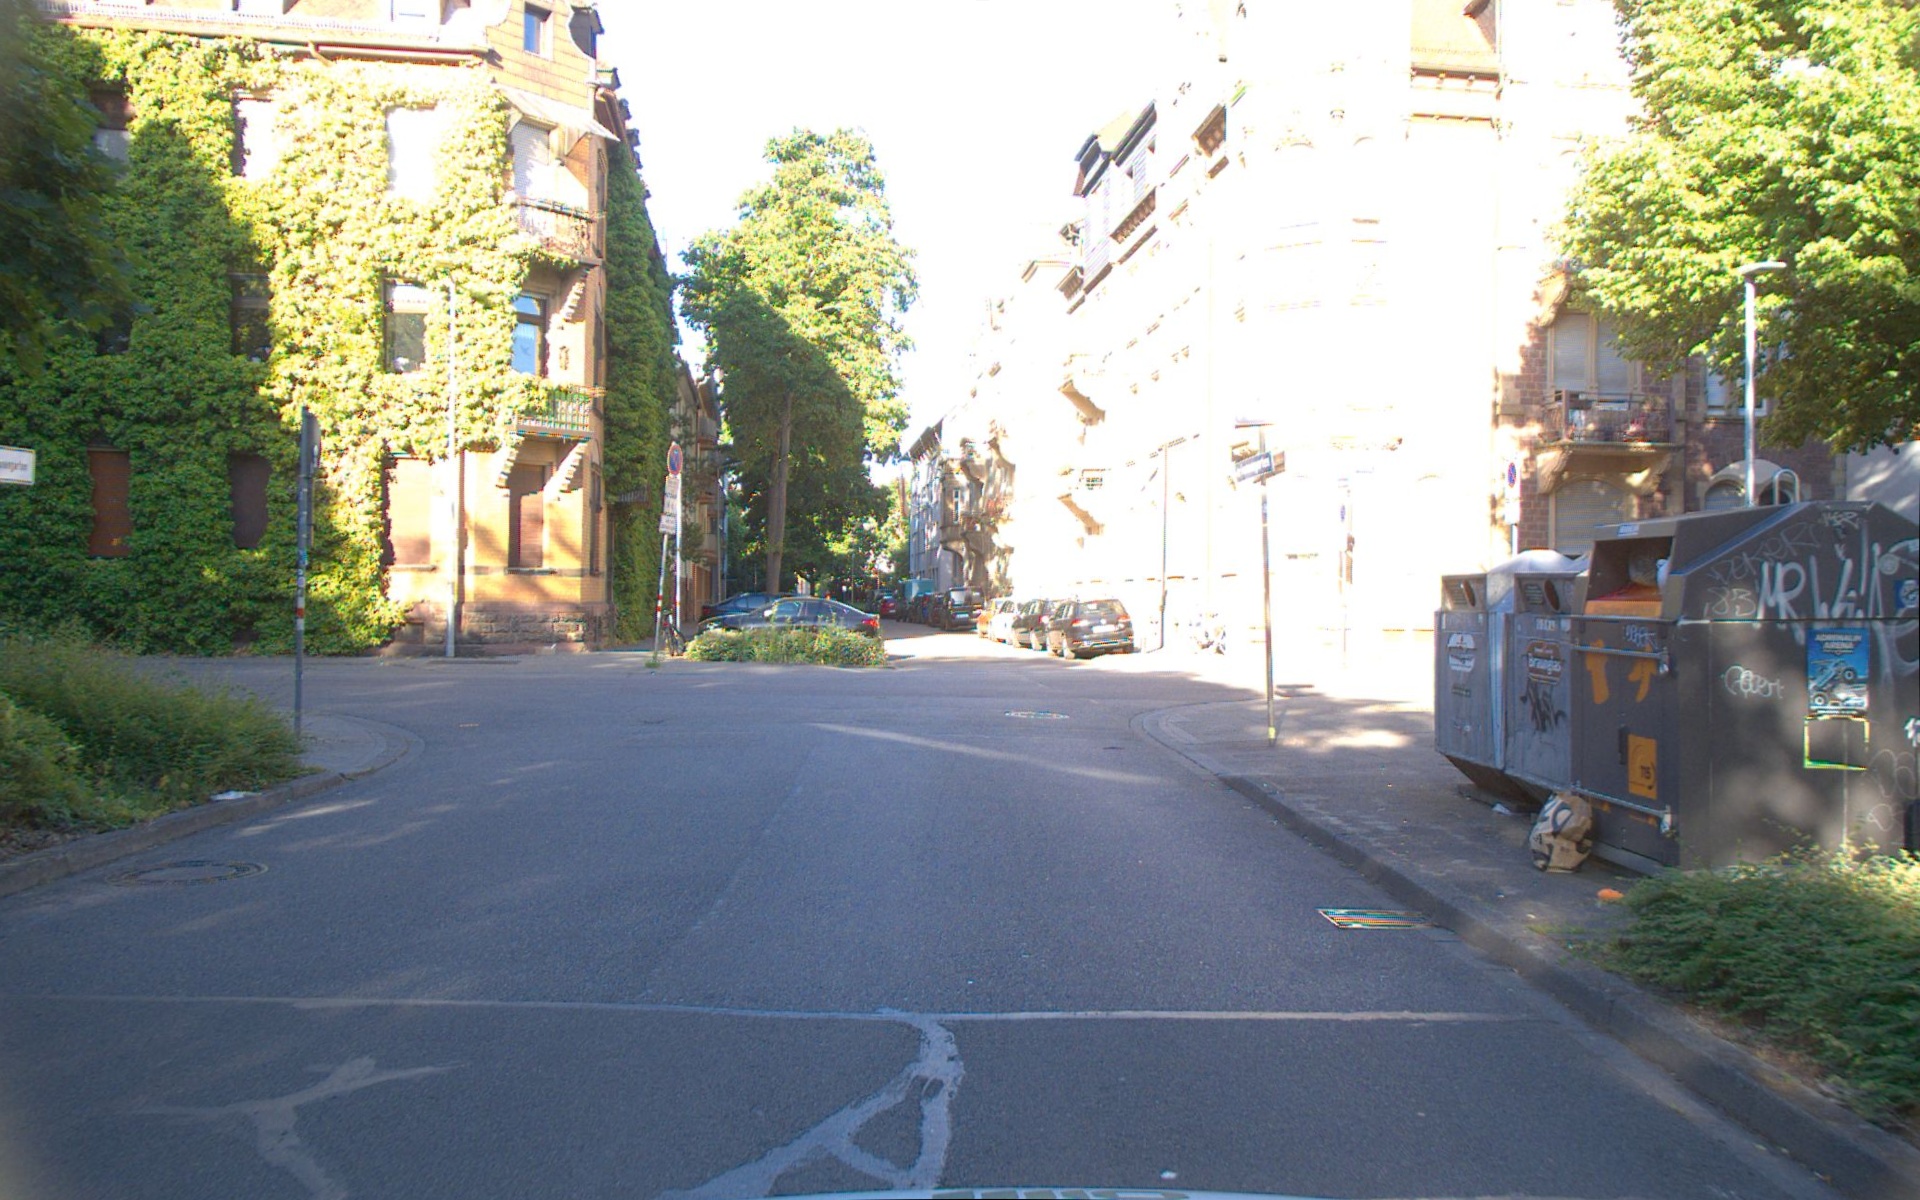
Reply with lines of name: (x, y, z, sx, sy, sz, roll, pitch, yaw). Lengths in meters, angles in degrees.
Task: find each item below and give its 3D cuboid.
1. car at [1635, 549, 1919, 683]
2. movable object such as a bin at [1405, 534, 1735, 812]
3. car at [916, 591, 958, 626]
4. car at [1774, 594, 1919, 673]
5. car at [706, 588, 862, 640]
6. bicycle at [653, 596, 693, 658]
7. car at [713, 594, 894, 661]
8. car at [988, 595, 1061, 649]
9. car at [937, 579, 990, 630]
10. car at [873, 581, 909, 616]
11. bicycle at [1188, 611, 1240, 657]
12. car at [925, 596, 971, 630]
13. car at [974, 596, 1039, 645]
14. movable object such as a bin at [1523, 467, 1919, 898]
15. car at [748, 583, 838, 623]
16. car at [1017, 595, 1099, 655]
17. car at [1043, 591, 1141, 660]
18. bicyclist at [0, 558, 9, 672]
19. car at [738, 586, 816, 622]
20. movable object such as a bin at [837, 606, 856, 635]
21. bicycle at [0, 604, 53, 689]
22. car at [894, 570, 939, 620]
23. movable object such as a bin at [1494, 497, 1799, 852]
car: (11.004, 0.262, 21.960, 1.957, 1.583, 3.989, 2, -2, -10)
movable object such as a bin: (4.012, 0.459, 11.093, 1.554, 1.686, 1.639, 2, 0, -2)
car: (-1.220, 0.446, 85.247, 1.768, 1.708, 3.994, 2, 0, -6)
car: (19.227, 0.677, 33.971, 4.361, 1.525, 1.731, 0, 1, -11)
car: (-5.536, 0.444, 51.937, 4.744, 1.460, 1.707, 2, 0, -9)
bicycle: (-6.109, 0.554, 35.304, 0.551, 1.290, 1.603, 0, 0, 1)
car: (-3.775, 0.648, 39.657, 4.164, 1.460, 1.996, 2, 0, -9)
car: (2.036, 0.691, 53.282, 1.704, 1.609, 3.994, 2, 0, -6)
car: (0.124, 0.182, 70.166, 1.768, 2.039, 3.994, 2, 0, -6)
car: (-4.717, -0.092, 112.494, 2.124, 2.276, 4.784, 2, 0, -6)
bicycle: (5.875, 0.780, 38.309, 0.506, 1.015, 1.568, 2, 0, -18)
car: (-0.606, 0.593, 78.521, 1.768, 1.541, 3.994, 2, 0, -6)
car: (1.585, 0.698, 57.942, 1.704, 1.609, 3.994, 2, 0, -6)
movable object such as a bin: (3.958, 0.380, 8.085, 1.882, 1.886, 1.393, 2, 0, -2)
car: (-7.222, 0.149, 71.394, 3.732, 1.603, 1.706, 2, 0, -11)
car: (2.786, 0.688, 47.809, 1.704, 1.609, 3.994, 2, 0, -6)
car: (3.290, 0.619, 41.834, 1.704, 1.609, 3.994, 2, 0, -6)
bicyclist: (-13.493, 0.194, 22.258, 0.951, 1.553, 0.719, 2, -1, -10)
car: (-8.990, 0.203, 81.226, 3.731, 1.603, 1.707, 2, 0, -9)
movable object such as a bin: (-4.366, 0.781, 63.418, 0.618, 1.071, 0.566, 2, -1, -12)
bicycle: (-13.382, 0.606, 22.291, 1.926, 1.091, 0.556, 2, 2, -10)
car: (-2.524, -0.260, 95.514, 2.124, 2.737, 4.784, 2, 0, -6)
movable object such as a bin: (3.892, 0.402, 9.520, 1.124, 1.859, 1.386, 2, 0, -2)
